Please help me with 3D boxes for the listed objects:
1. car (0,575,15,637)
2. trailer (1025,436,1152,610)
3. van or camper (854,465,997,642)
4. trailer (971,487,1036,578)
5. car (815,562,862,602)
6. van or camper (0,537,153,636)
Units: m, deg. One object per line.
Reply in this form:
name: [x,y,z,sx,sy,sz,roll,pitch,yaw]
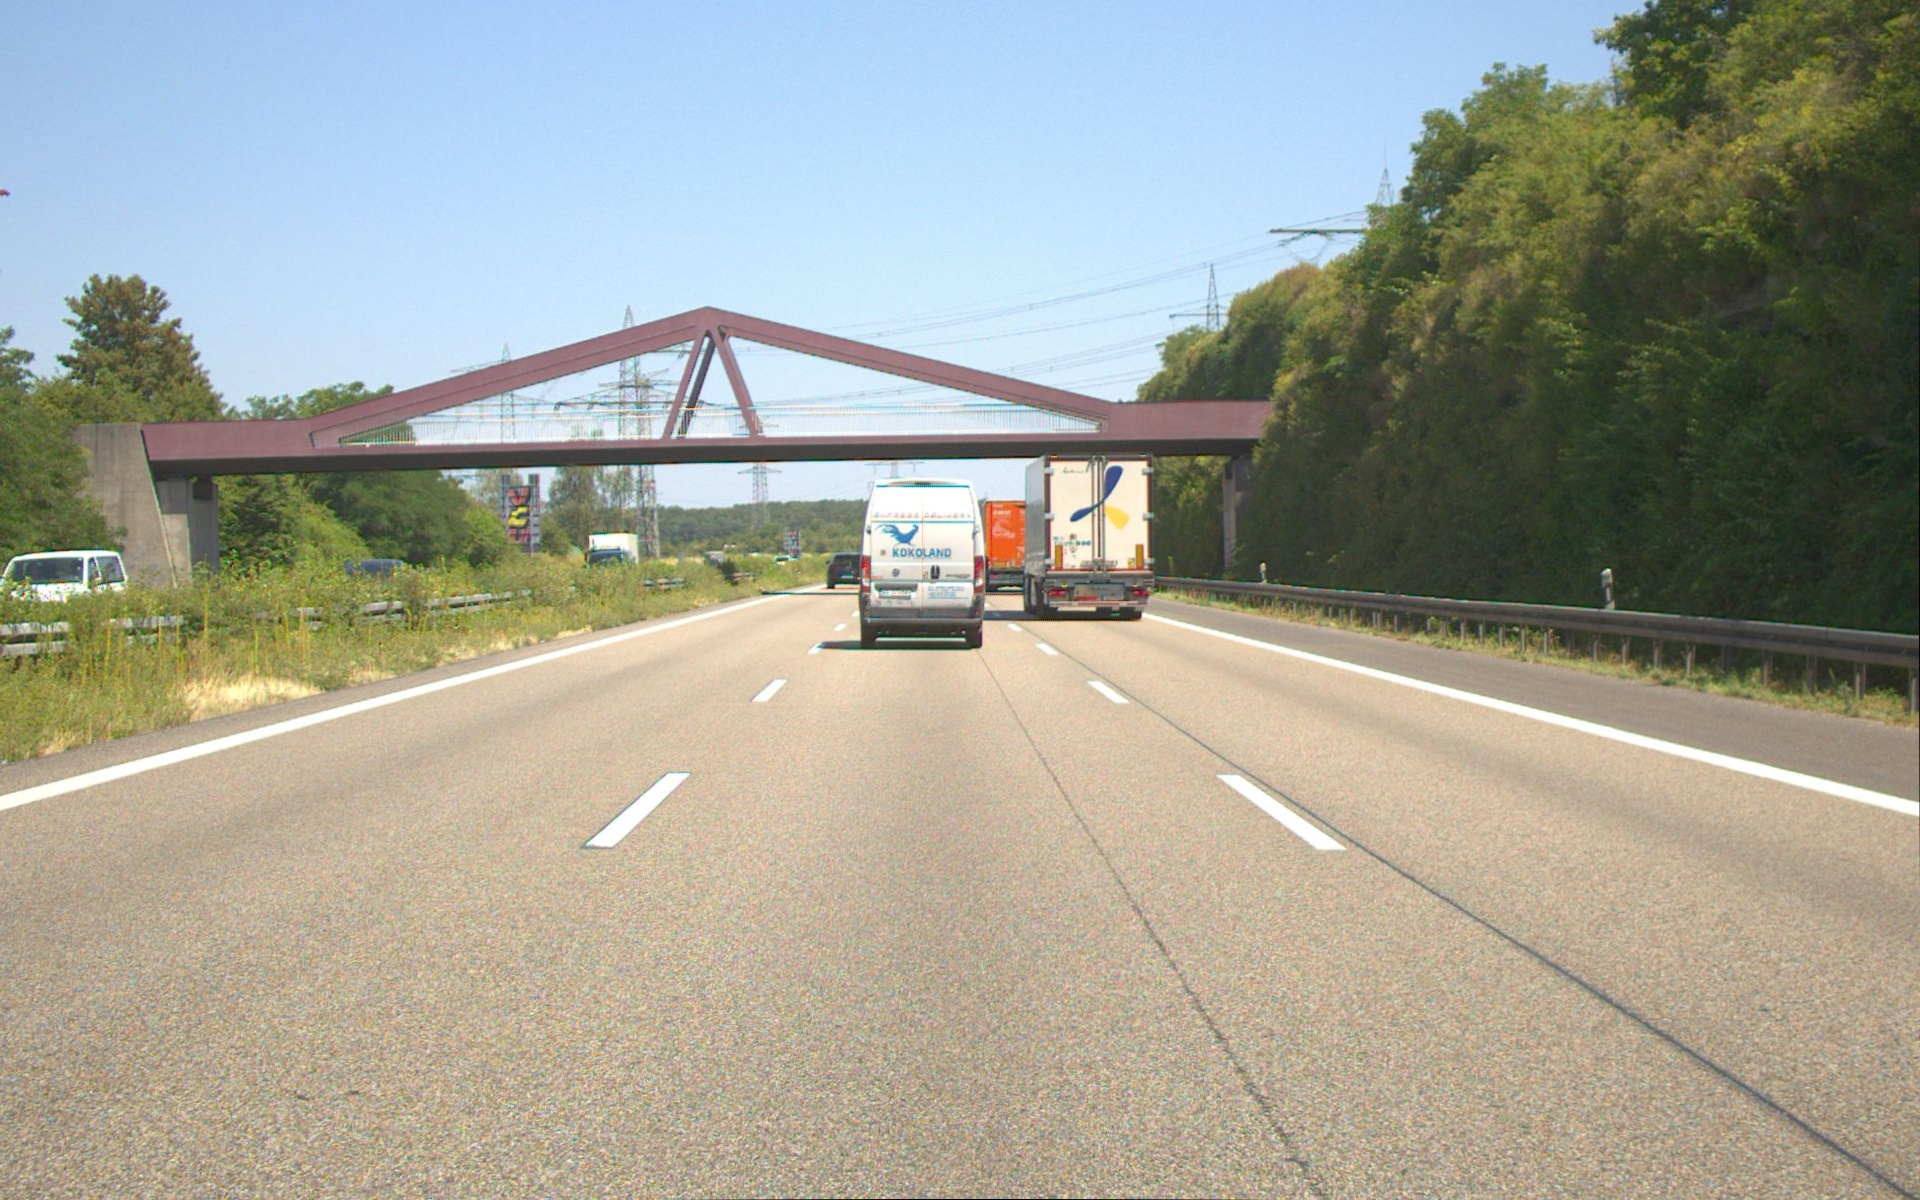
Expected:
car: [-25.678,0.151,89.301,1.373,1.608,3.364,1,1,-1]
trailer: [3.168,-1.918,87.629,2.637,4.046,12.366,1,1,0]
van or camper: [-0.598,-0.781,57.671,2.230,2.772,5.423,1,1,-1]
trailer: [1.883,-2.963,151.884,2.637,3.883,7.069,1,1,0]
car: [-5.829,-0.872,165.300,1.982,1.811,3.813,1,1,1]
van or camper: [-18.076,-0.295,69.820,2.125,1.850,5.311,-2,1,-1]
